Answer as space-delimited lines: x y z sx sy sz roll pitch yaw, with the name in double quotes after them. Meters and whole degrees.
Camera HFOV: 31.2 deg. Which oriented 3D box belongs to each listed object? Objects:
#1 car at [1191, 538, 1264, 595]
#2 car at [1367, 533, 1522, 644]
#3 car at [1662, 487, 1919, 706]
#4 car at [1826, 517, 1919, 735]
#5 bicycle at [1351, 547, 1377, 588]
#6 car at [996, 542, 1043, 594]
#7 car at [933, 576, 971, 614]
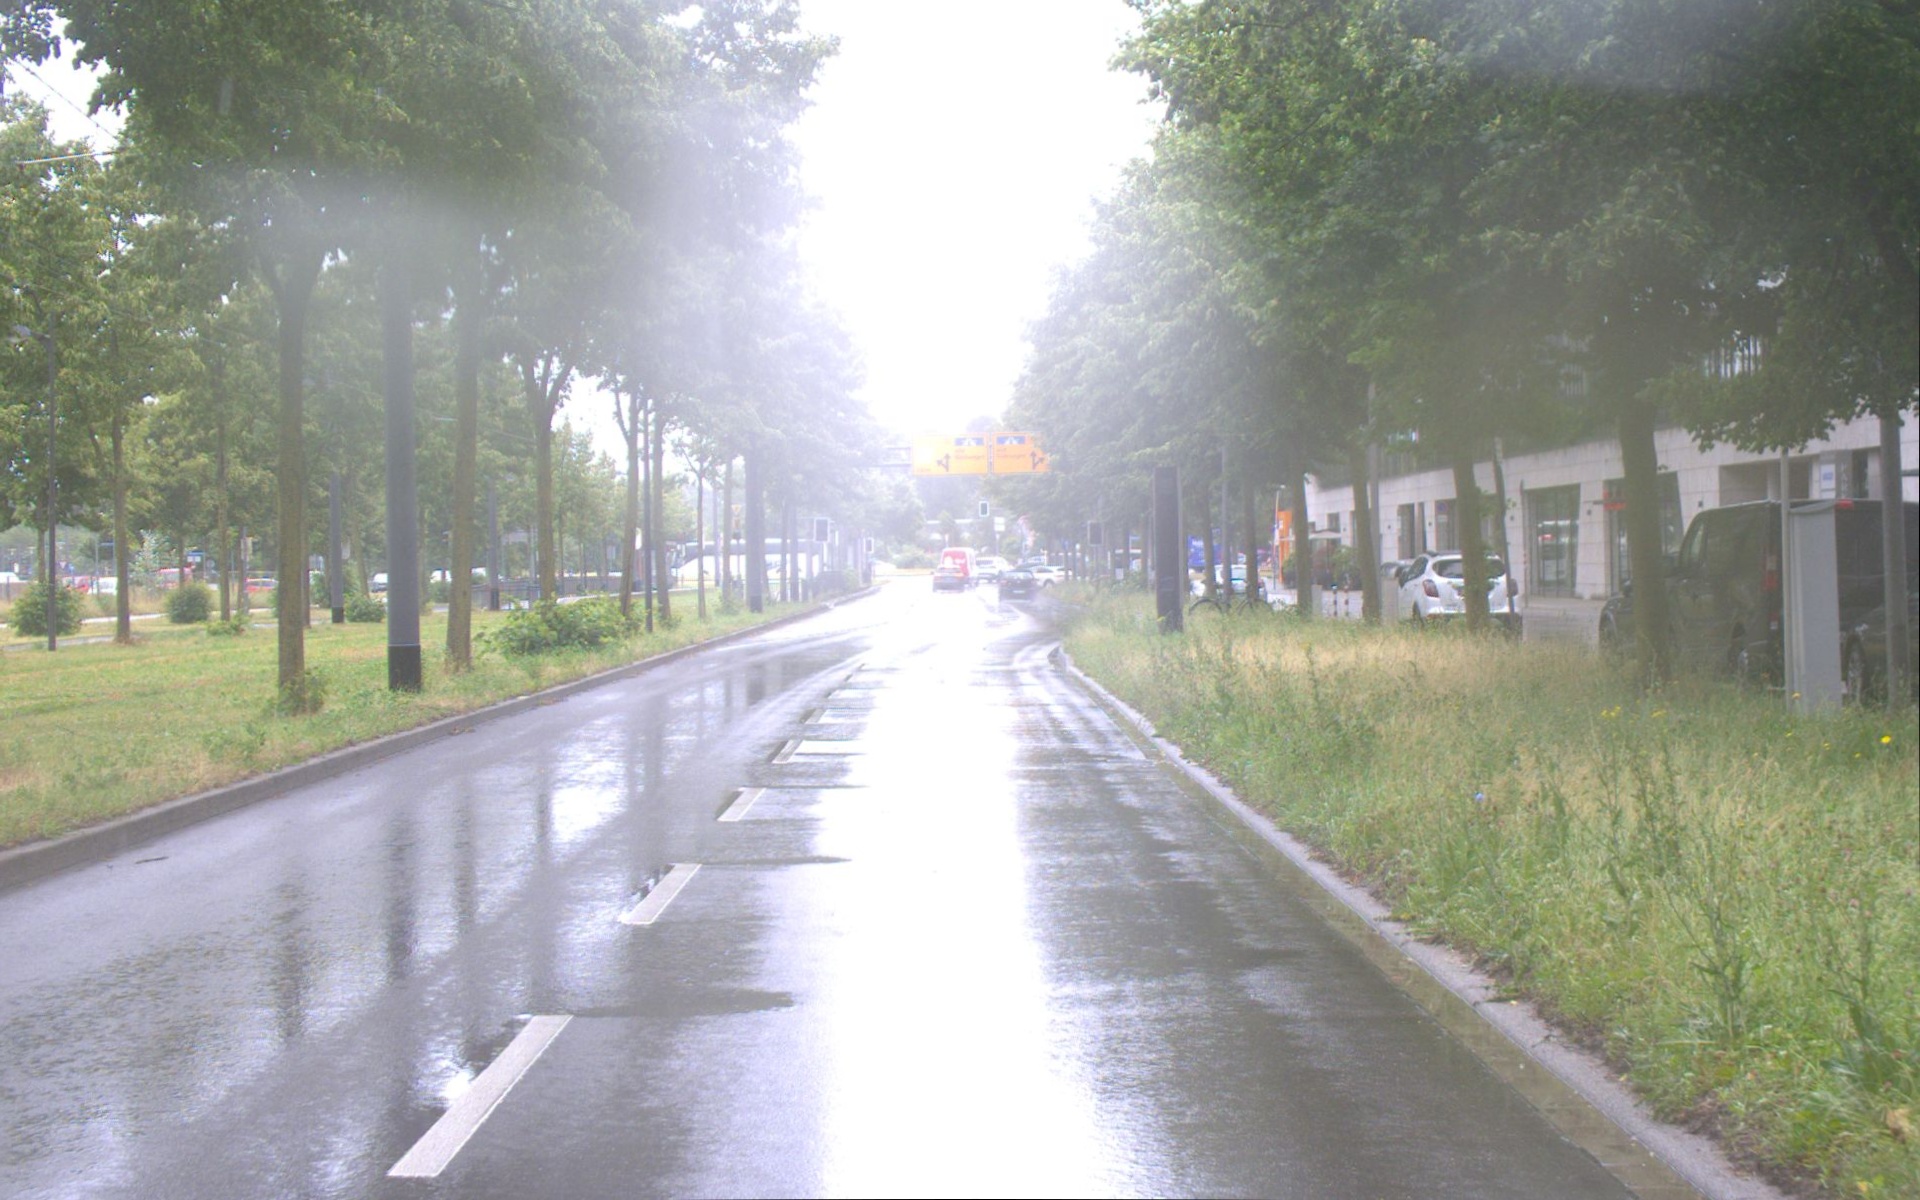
8.186 -1.049 105.505 1.881 1.500 4.724 -1 3 0 "car"
8.329 -0.238 59.444 1.993 1.663 4.724 -1 3 0 "car"
8.626 -0.116 34.837 1.993 1.945 5.030 -1 3 0 "car"
8.703 0.213 28.093 1.993 1.663 4.959 -1 3 0 "car"
18.159 -1.459 154.658 0.772 1.716 3.121 -1 3 0 "bicycle"
2.542 -1.390 147.366 1.940 2.006 4.001 -1 3 0 "car"
-0.463 -0.321 201.903 1.994 2.006 4.000 -1 3 2 "car"
